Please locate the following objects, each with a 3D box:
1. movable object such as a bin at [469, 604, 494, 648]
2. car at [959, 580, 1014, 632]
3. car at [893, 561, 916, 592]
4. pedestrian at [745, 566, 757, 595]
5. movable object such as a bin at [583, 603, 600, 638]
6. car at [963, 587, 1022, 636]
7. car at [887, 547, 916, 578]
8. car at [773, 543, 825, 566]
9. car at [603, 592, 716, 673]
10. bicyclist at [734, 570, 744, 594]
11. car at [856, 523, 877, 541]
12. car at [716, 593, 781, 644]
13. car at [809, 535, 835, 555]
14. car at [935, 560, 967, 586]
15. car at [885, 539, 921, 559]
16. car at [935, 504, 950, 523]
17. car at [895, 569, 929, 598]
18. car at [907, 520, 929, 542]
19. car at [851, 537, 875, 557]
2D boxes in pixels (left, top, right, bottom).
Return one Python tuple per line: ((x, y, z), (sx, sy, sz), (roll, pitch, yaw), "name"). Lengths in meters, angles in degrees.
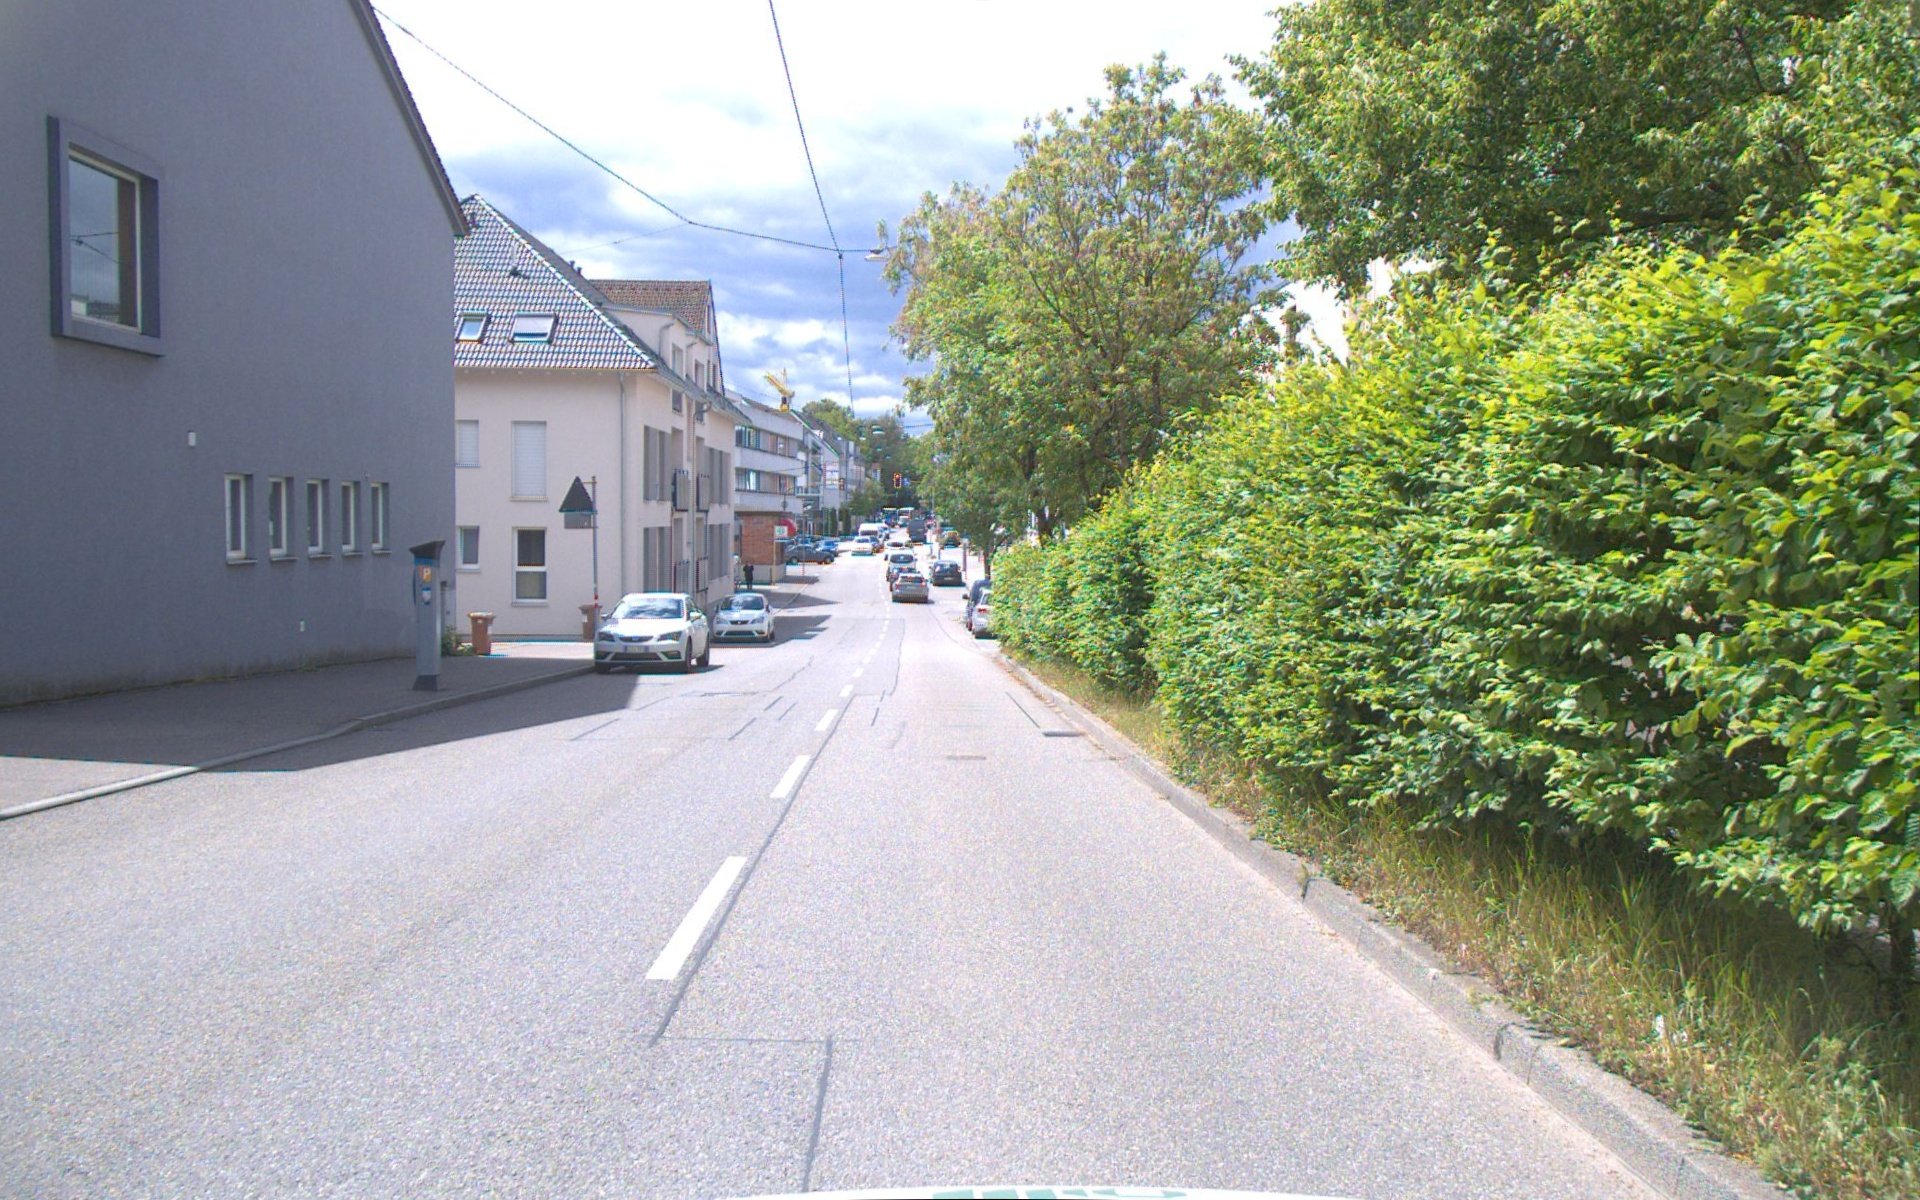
((-10.664, 0.575, 36.847), (0.445, 0.945, 0.399), (-1, 0, -3), "movable object such as a bin")
((0.948, 0.176, 61.088), (1.807, 1.798, 4.514), (1, 1, -2), "car")
((-3.186, -1.365, 94.478), (1.248, 1.553, 3.050), (0, 4, -2), "car")
((-11.689, -1.085, 92.502), (0.617, 1.630, 0.561), (1, 1, -12), "pedestrian")
((-10.260, 0.574, 46.017), (0.405, 0.970, 0.391), (0, 0, -5), "movable object such as a bin")
((1.045, 0.350, 55.363), (1.750, 1.535, 4.363), (1, 1, -2), "car")
((-3.696, -2.400, 105.065), (1.799, 1.894, 3.849), (1, 1, -2), "car")
((-12.119, -3.420, 124.471), (3.609, 1.642, 1.561), (1, 1, -29), "car")
((-5.750, 0.587, 32.003), (1.663, 1.414, 3.864), (1, 1, -3), "car")
((-11.306, -0.925, 84.561), (0.448, 1.199, 0.624), (0, 1, -2), "bicyclist")
((-9.150, -6.651, 162.263), (1.834, 1.668, 4.000), (0, 1, 0), "car")
((-6.362, 0.523, 50.049), (1.614, 1.443, 3.697), (0, 1, -2), "car")
((-12.002, -4.781, 144.225), (1.834, 1.668, 4.001), (2, 1, 0), "car")
((-0.585, -1.679, 101.504), (1.718, 1.394, 3.999), (0, 4, -4), "car")
((-4.727, -4.267, 137.880), (1.743, 1.584, 4.003), (-1, 1, 17), "car")
((-2.108, -10.422, 199.207), (1.765, 2.049, 3.999), (0, 1, -2), "car")
((-2.492, -0.855, 85.764), (1.709, 1.441, 3.999), (0, 1, -2), "car")
((-4.695, -7.732, 185.358), (2.387, 2.358, 5.325), (2, 2, -2), "car")
((-8.697, -4.755, 147.968), (1.834, 1.668, 4.001), (2, 1, 0), "car")
